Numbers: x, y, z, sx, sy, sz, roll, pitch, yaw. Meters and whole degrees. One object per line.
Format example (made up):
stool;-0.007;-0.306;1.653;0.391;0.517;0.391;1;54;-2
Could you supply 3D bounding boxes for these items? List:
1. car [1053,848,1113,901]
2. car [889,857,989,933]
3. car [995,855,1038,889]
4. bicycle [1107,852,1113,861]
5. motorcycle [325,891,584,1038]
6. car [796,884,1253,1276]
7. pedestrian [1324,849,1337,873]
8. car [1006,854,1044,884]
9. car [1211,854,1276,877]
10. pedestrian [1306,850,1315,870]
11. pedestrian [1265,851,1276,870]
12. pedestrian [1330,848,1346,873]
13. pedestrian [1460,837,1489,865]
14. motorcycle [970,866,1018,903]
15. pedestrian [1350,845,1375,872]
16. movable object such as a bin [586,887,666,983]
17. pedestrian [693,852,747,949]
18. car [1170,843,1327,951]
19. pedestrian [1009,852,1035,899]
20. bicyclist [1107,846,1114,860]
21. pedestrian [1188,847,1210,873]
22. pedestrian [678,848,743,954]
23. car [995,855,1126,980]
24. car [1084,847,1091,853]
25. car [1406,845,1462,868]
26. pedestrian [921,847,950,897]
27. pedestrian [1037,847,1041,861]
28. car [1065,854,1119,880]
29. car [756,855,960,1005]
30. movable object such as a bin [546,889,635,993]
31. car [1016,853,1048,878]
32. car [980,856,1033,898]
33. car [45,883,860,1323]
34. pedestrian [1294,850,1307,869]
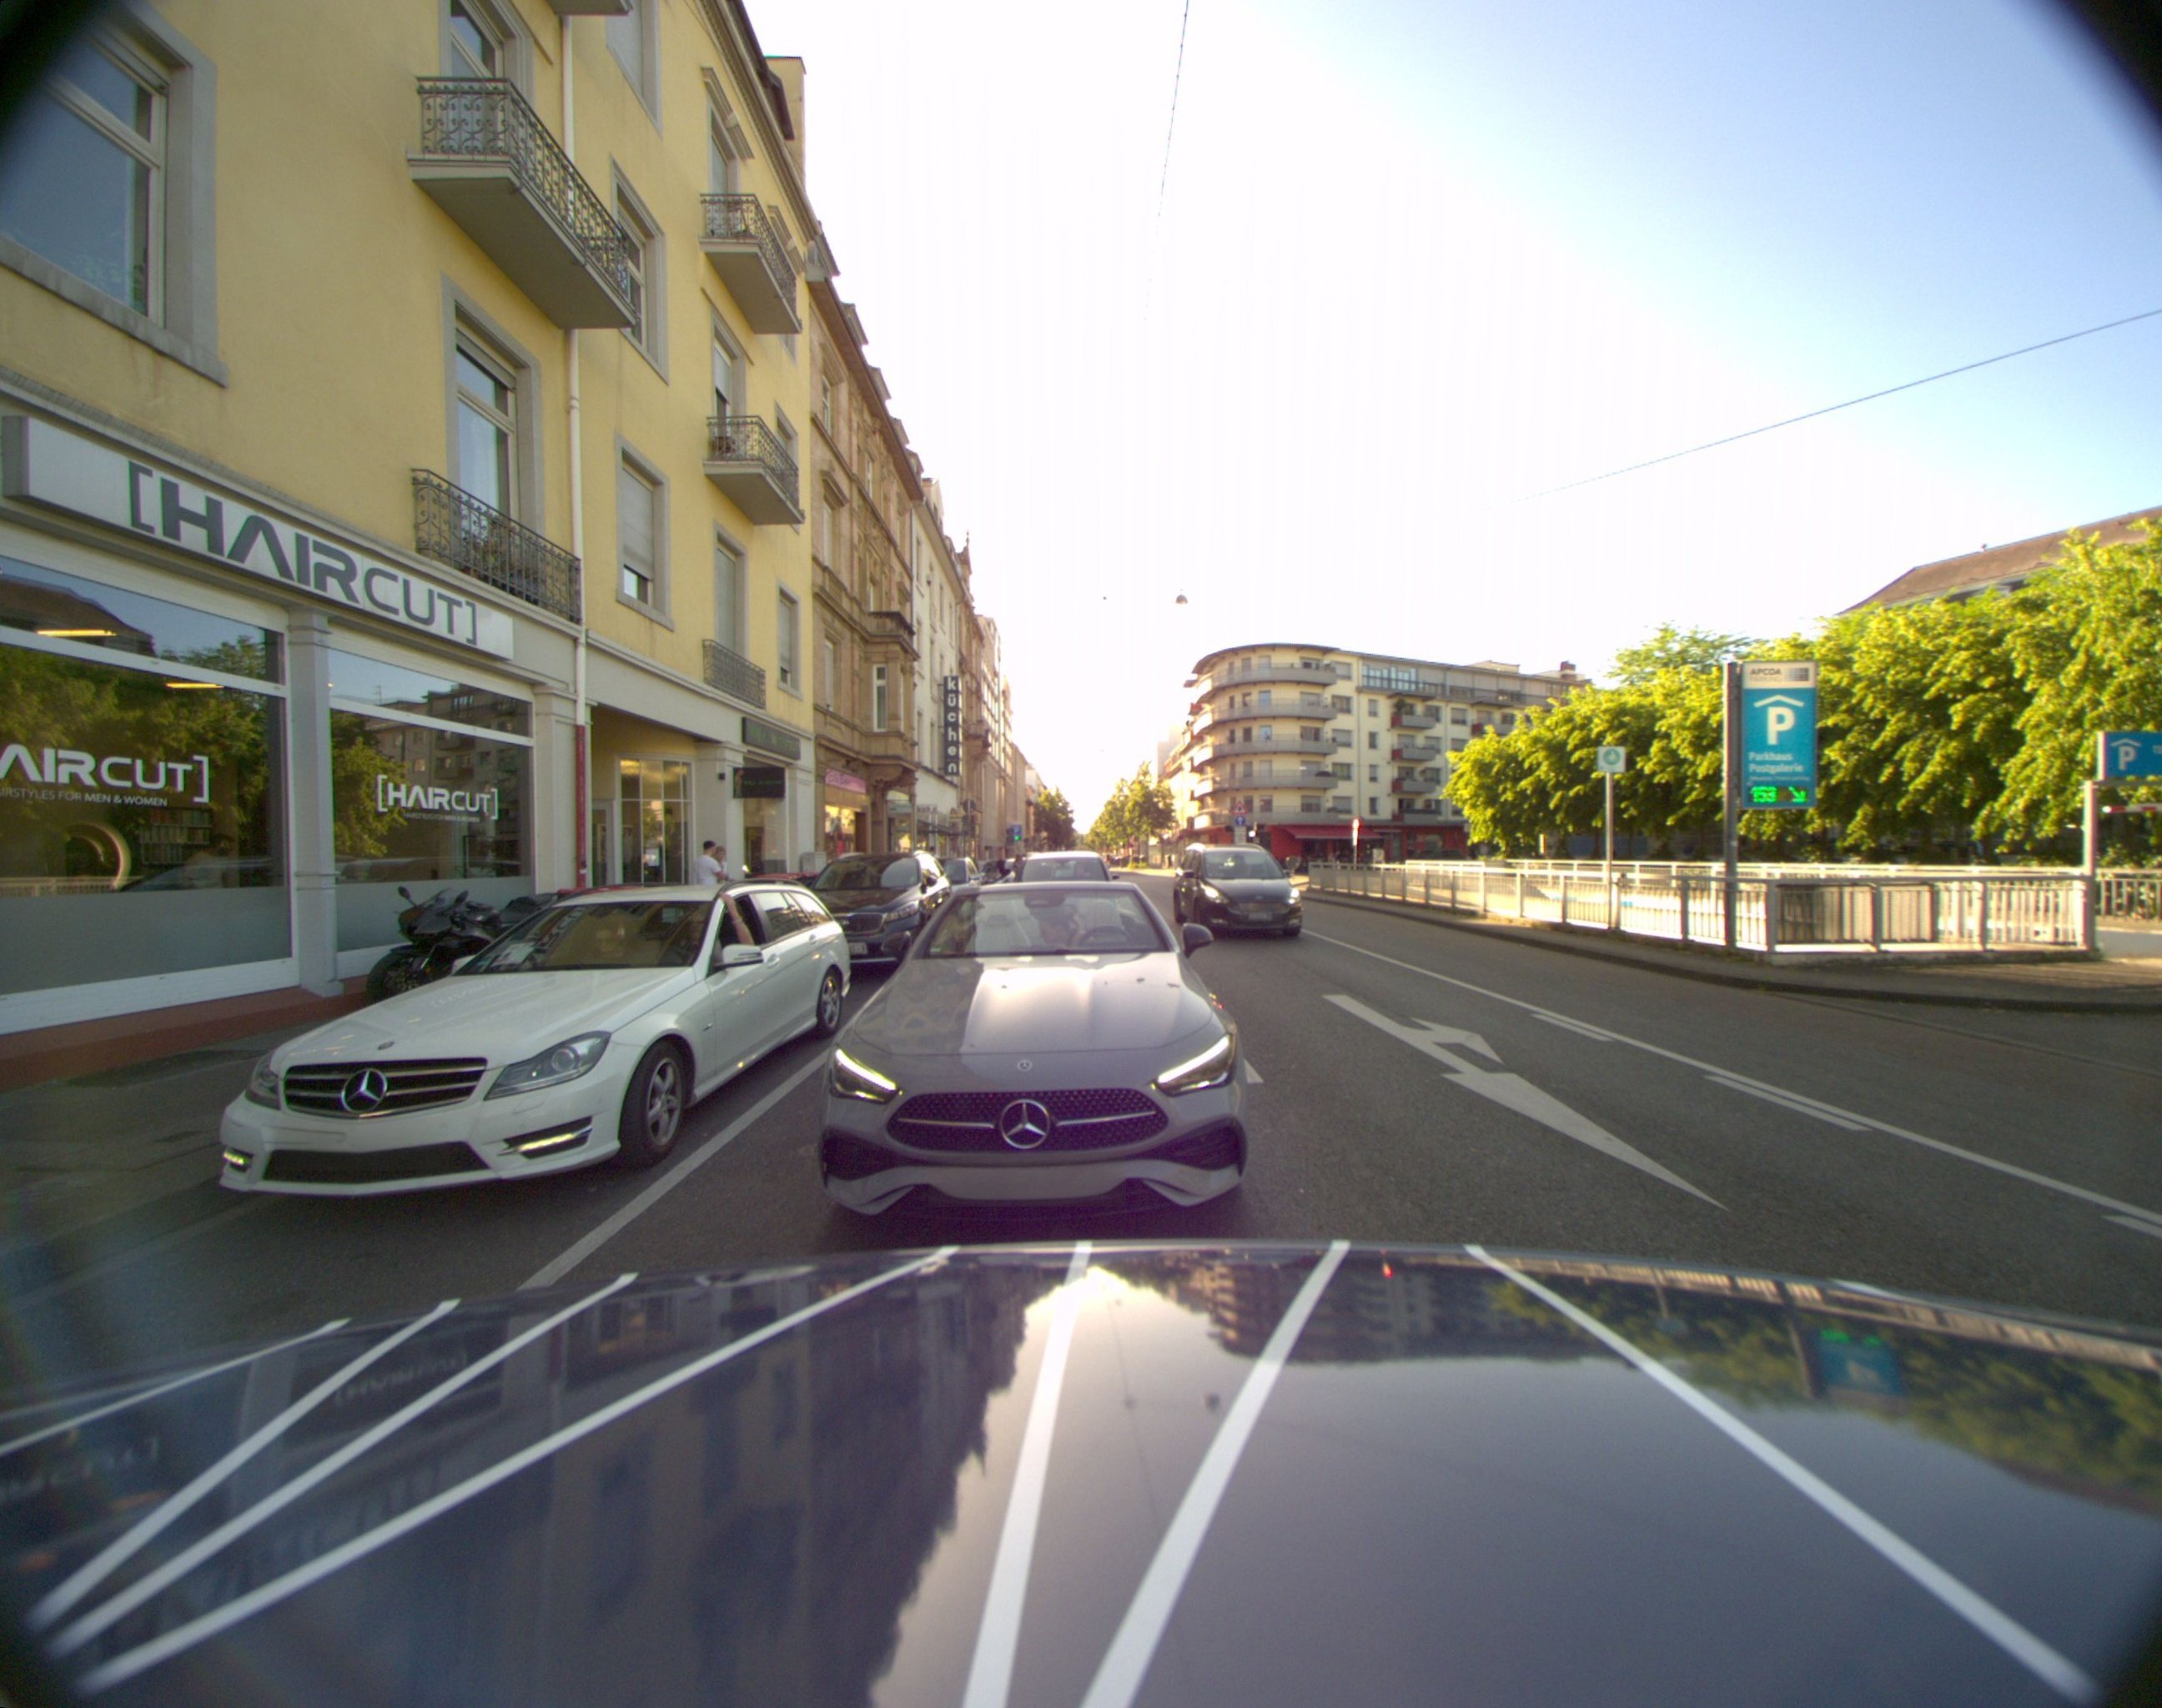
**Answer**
car;0.101;0.677;27.374;1.952;1.742;4.000;-1;0;1
car;-3.234;0.893;17.879;1.696;1.559;3.018;-1;0;1
car;-3.043;0.817;36.473;1.715;1.477;3.999;-1;0;0
bicycle;3.542;0.295;92.173;0.661;1.083;1.971;-1;1;4
motorcycle;-6.254;1.026;7.818;0.773;1.158;2.247;1;0;1
car;-0.250;1.020;5.277;1.849;1.371;4.255;-2;0;-1
pedestrian;17.869;0.513;54.405;0.674;1.696;0.699;-2;1;-7
car;-2.975;0.767;40.990;1.715;1.477;3.999;-1;0;0
car;10.792;0.760;50.762;1.806;1.426;4.241;-2;0;-30
pedestrian;17.958;0.466;59.491;0.581;1.481;0.793;-1;1;13
pedestrian;15.060;0.505;60.263;0.791;1.452;0.583;-1;1;10
pedestrian;18.491;0.462;54.707;0.756;1.795;0.755;-2;1;-33
pedestrian;28.363;-0.231;54.786;1.320;2.002;1.294;-2;1;-16
motorcycle;-3.050;1.051;26.779;0.769;1.225;1.546;-1;1;42
pedestrian;21.923;0.337;59.178;1.234;2.002;1.259;-2;1;-21
movable object such as a bin;-6.051;1.056;10.132;0.647;1.200;0.644;-1;1;1
pedestrian;-6.192;0.778;13.060;0.572;1.607;0.643;-1;1;2
car;3.033;0.693;14.880;1.999;1.761;4.727;-1;0;0
pedestrian;-2.149;0.766;27.440;0.694;1.657;0.833;-2;1;-20
bicyclist;3.553;-0.119;92.058;0.757;1.651;1.144;-2;1;5
pedestrian;9.217;0.473;59.355;1.202;2.002;1.018;-3;1;-37
pedestrian;-5.851;0.718;12.021;0.642;1.607;0.701;-1;1;-1
car;-0.244;0.853;12.169;1.716;1.599;4.000;-1;0;1
car;1.889;-1.099;221.265;1.998;1.805;4.000;-1;1;1
car;29.042;0.179;62.443;4.004;1.740;1.996;-2;1;-23
pedestrian;-4.792;0.570;25.047;0.795;1.607;0.763;-1;1;-1
pedestrian;-5.864;0.012;105.815;0.527;1.875;0.569;-1;1;-2
car;0.736;0.721;45.184;1.996;1.375;4.295;-1;0;18
car;-2.990;0.896;11.294;1.858;1.688;4.697;-1;0;-4
movable object such as a bin;-6.101;1.066;9.480;0.647;1.200;0.644;-1;1;1
car;-3.017;0.695;47.585;1.715;1.477;4.062;-1;0;0
car;-2.942;0.877;30.721;1.715;1.477;3.999;-1;0;0
car;-3.075;1.047;5.222;1.759;1.453;4.597;-1;0;0
pedestrian;17.697;0.444;61.146;0.583;1.453;0.790;-2;1;-37
